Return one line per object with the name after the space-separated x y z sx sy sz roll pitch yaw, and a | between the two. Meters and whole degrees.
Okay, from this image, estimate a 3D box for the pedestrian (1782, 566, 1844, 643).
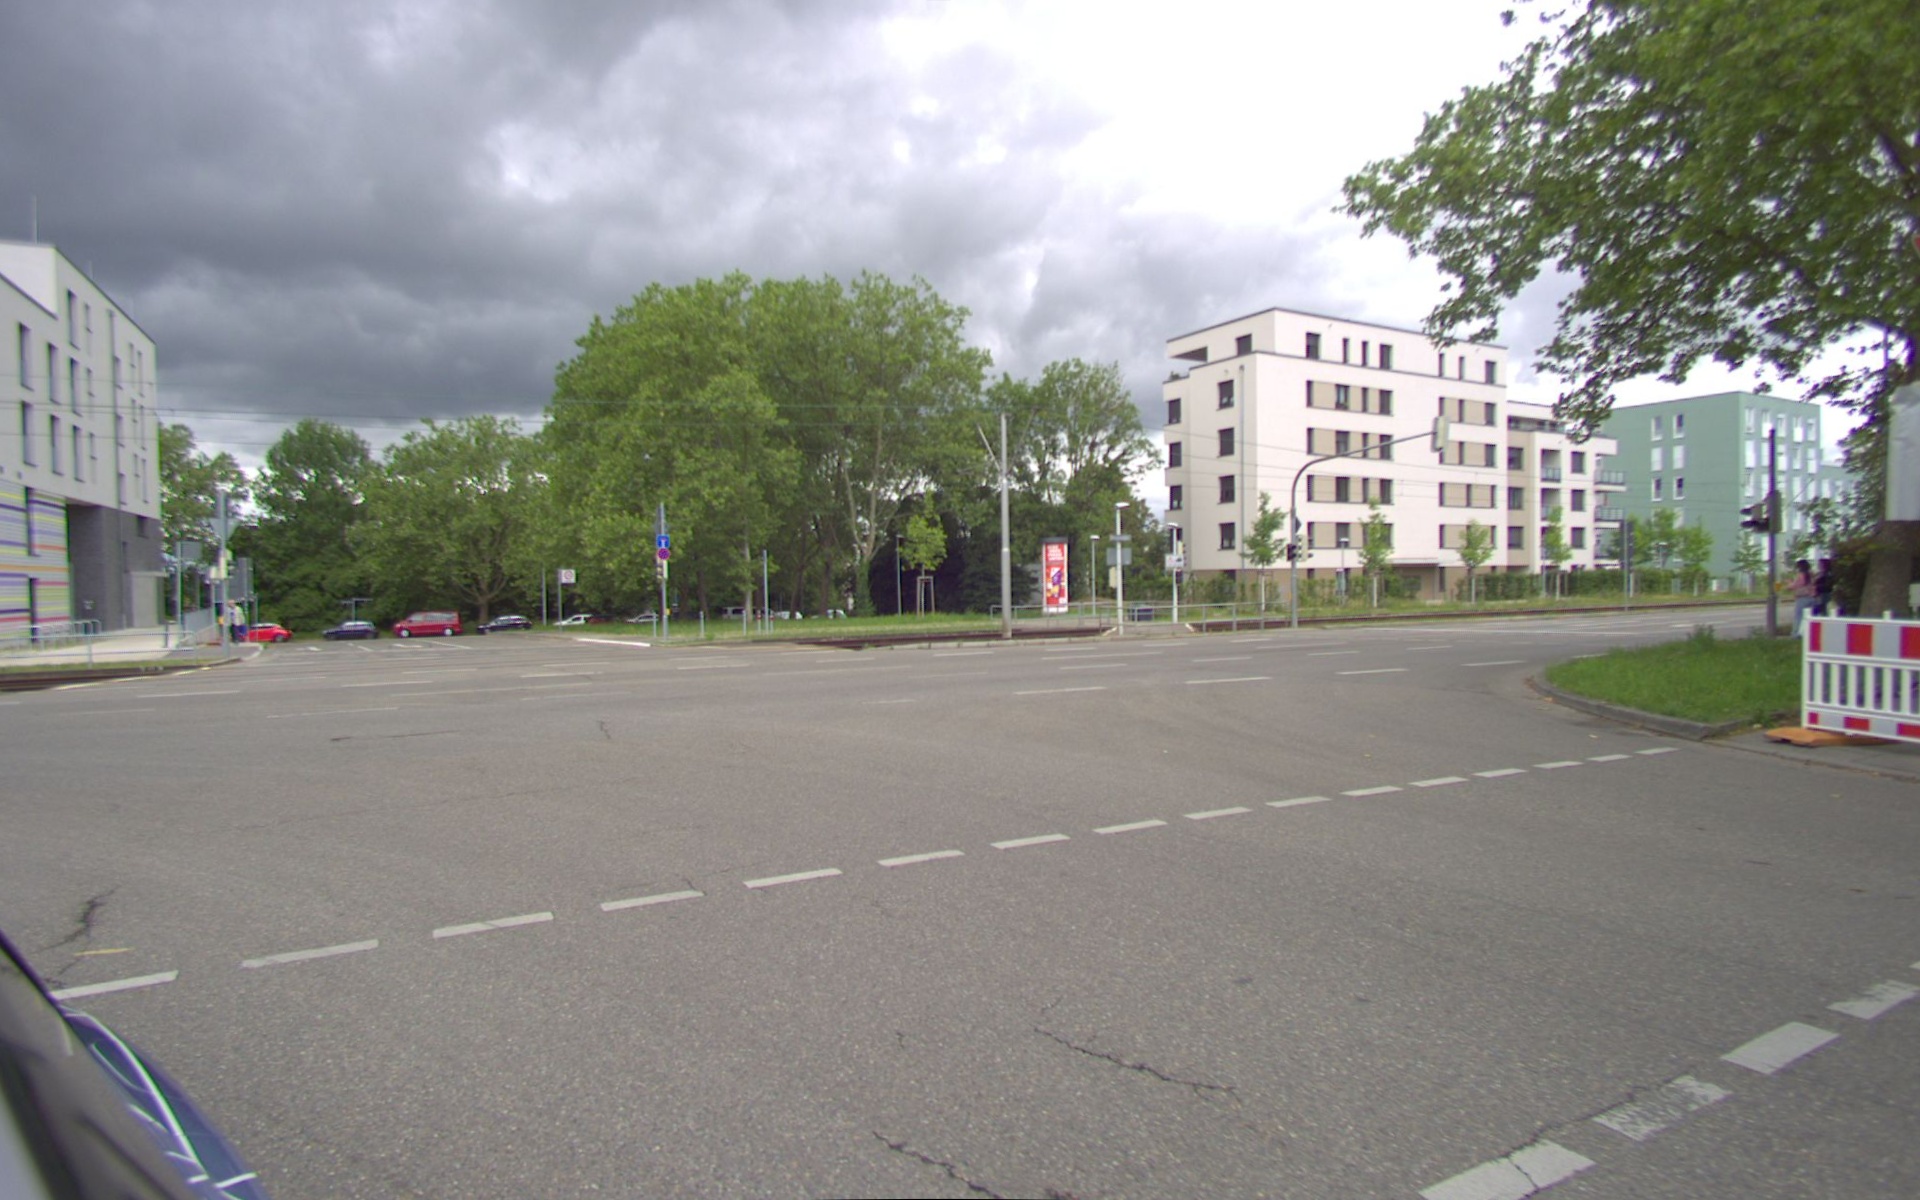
16.874 0.084 20.024 0.687 1.500 0.690 -1 0 -25 | pedestrian

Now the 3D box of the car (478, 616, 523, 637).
-36.229 2.104 79.872 3.085 1.513 1.609 -2 0 -22 | car

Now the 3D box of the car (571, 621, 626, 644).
-27.614 2.450 77.301 3.720 1.674 1.670 -1 0 -28 | car

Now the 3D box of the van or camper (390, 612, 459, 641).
-41.229 1.989 78.068 4.481 2.040 2.054 -2 0 -22 | van or camper

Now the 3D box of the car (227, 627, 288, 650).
-50.981 2.791 73.513 3.482 1.510 1.652 -2 0 -28 | car

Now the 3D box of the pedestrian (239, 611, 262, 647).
-41.235 1.667 58.861 0.923 2.029 1.120 -2 0 -28 | pedestrian

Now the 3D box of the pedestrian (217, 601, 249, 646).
-27.879 0.894 38.840 0.976 1.682 0.858 0 0 -35 | pedestrian

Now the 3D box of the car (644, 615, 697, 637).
-22.931 2.034 80.248 3.720 1.674 1.670 -1 0 -30 | car

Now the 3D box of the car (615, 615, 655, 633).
-27.169 1.974 84.644 3.085 1.354 1.452 -2 0 -22 | car

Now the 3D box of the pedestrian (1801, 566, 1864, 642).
17.521 0.082 20.336 0.687 1.500 0.722 -1 0 -24 | pedestrian

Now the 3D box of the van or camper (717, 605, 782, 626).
-17.372 1.243 83.464 4.921 1.545 1.870 -2 0 -28 | van or camper

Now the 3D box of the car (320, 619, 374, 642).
-45.928 2.268 75.869 3.213 1.513 1.609 -2 0 -22 | car

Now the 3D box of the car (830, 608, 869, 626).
-10.870 1.647 99.396 3.727 1.742 1.667 -1 0 -6 | car

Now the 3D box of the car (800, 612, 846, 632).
-12.535 2.003 92.361 3.745 1.661 1.705 -2 1 -32 | car

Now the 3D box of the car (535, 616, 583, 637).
-32.589 2.149 82.213 3.534 1.548 1.880 -2 0 -22 | car
